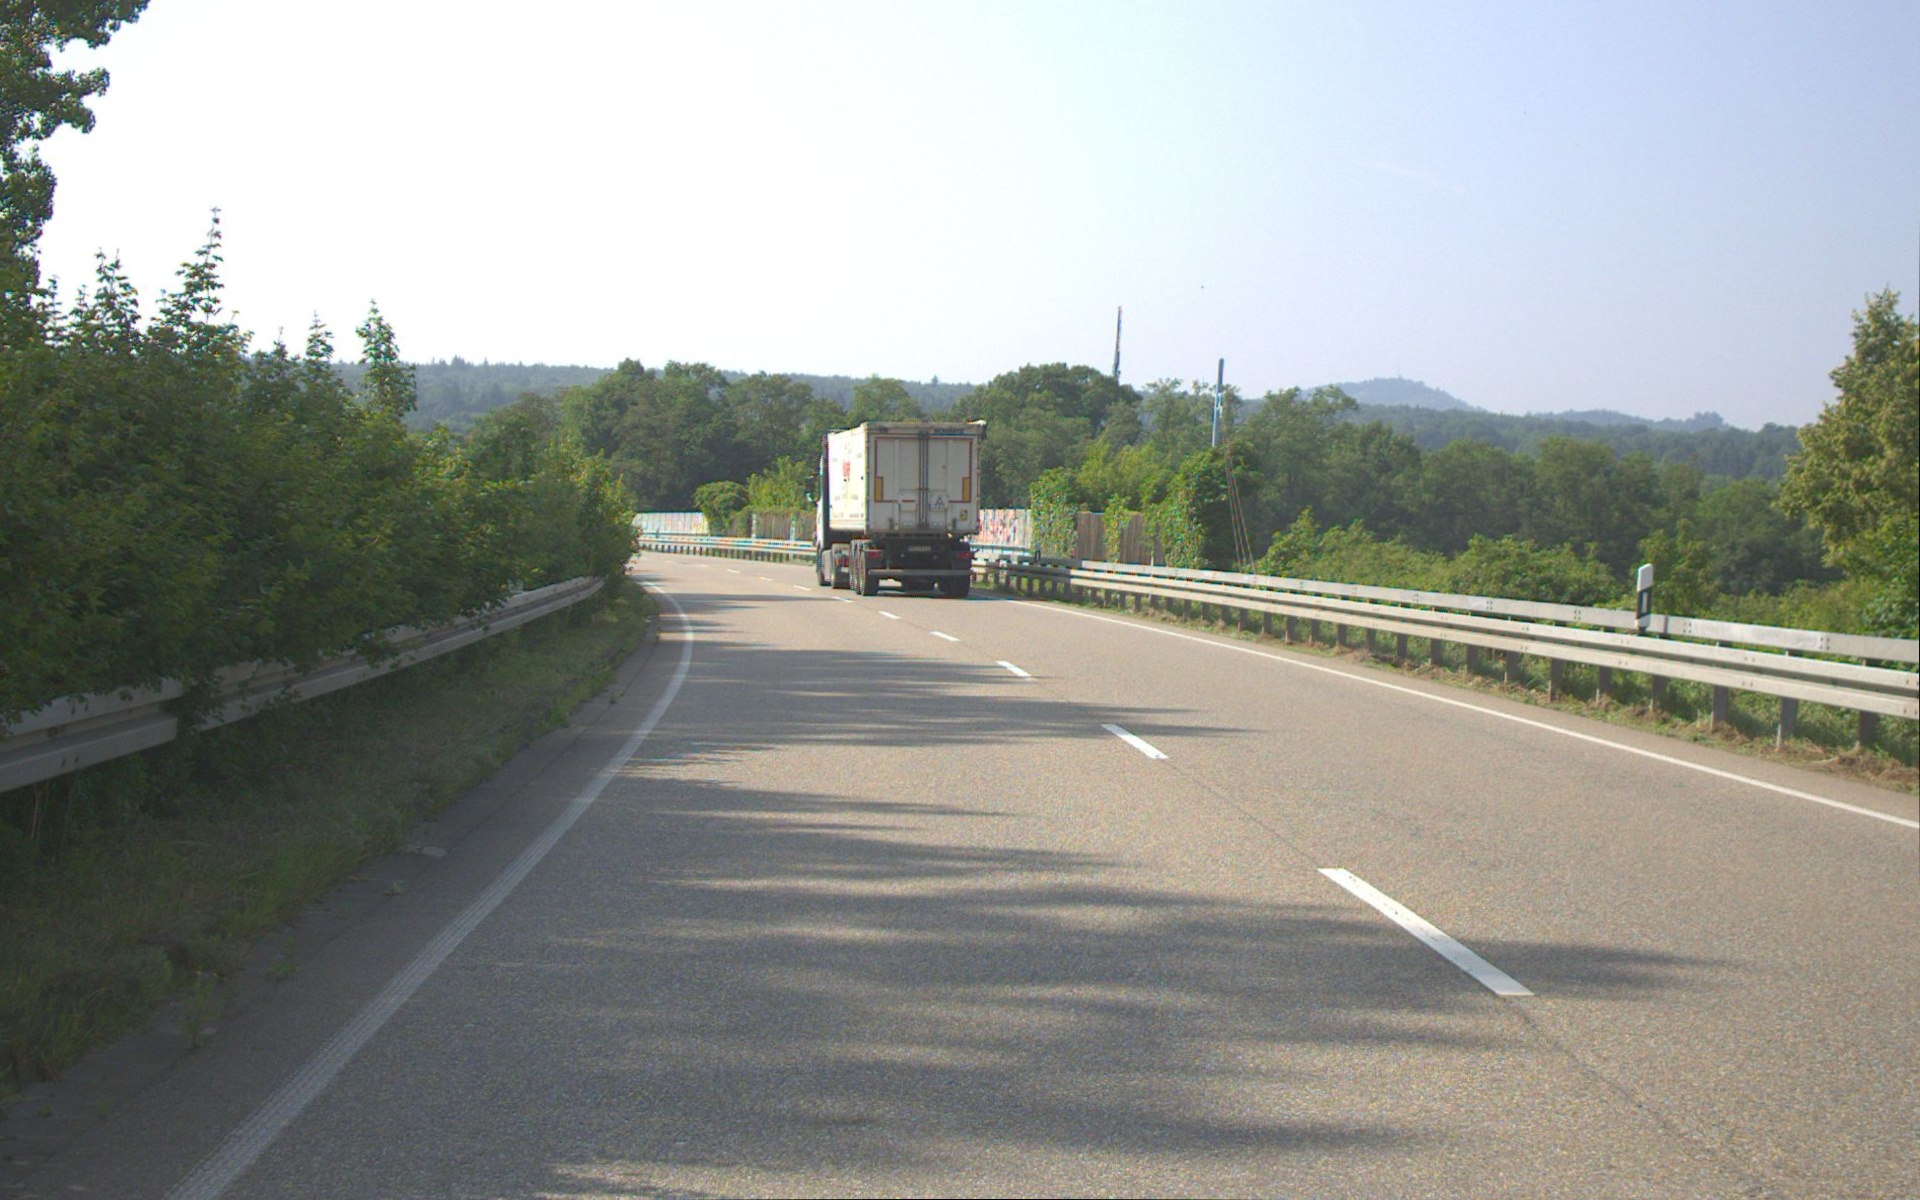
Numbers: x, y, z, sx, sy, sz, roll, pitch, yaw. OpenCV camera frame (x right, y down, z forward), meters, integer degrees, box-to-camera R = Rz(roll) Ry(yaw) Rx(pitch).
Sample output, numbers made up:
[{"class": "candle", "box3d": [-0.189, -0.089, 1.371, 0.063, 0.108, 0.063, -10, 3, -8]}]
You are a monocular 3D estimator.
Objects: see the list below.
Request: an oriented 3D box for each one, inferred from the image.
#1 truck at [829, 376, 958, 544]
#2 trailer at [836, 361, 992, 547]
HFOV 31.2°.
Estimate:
[{"class": "truck", "box3d": [-1.677, -3.391, 84.077, 2.658, 3.882, 5.649, 1, 2, -5]}, {"class": "trailer", "box3d": [-1.160, -3.236, 78.249, 2.679, 3.893, 9.675, 1, 1, -6]}]
